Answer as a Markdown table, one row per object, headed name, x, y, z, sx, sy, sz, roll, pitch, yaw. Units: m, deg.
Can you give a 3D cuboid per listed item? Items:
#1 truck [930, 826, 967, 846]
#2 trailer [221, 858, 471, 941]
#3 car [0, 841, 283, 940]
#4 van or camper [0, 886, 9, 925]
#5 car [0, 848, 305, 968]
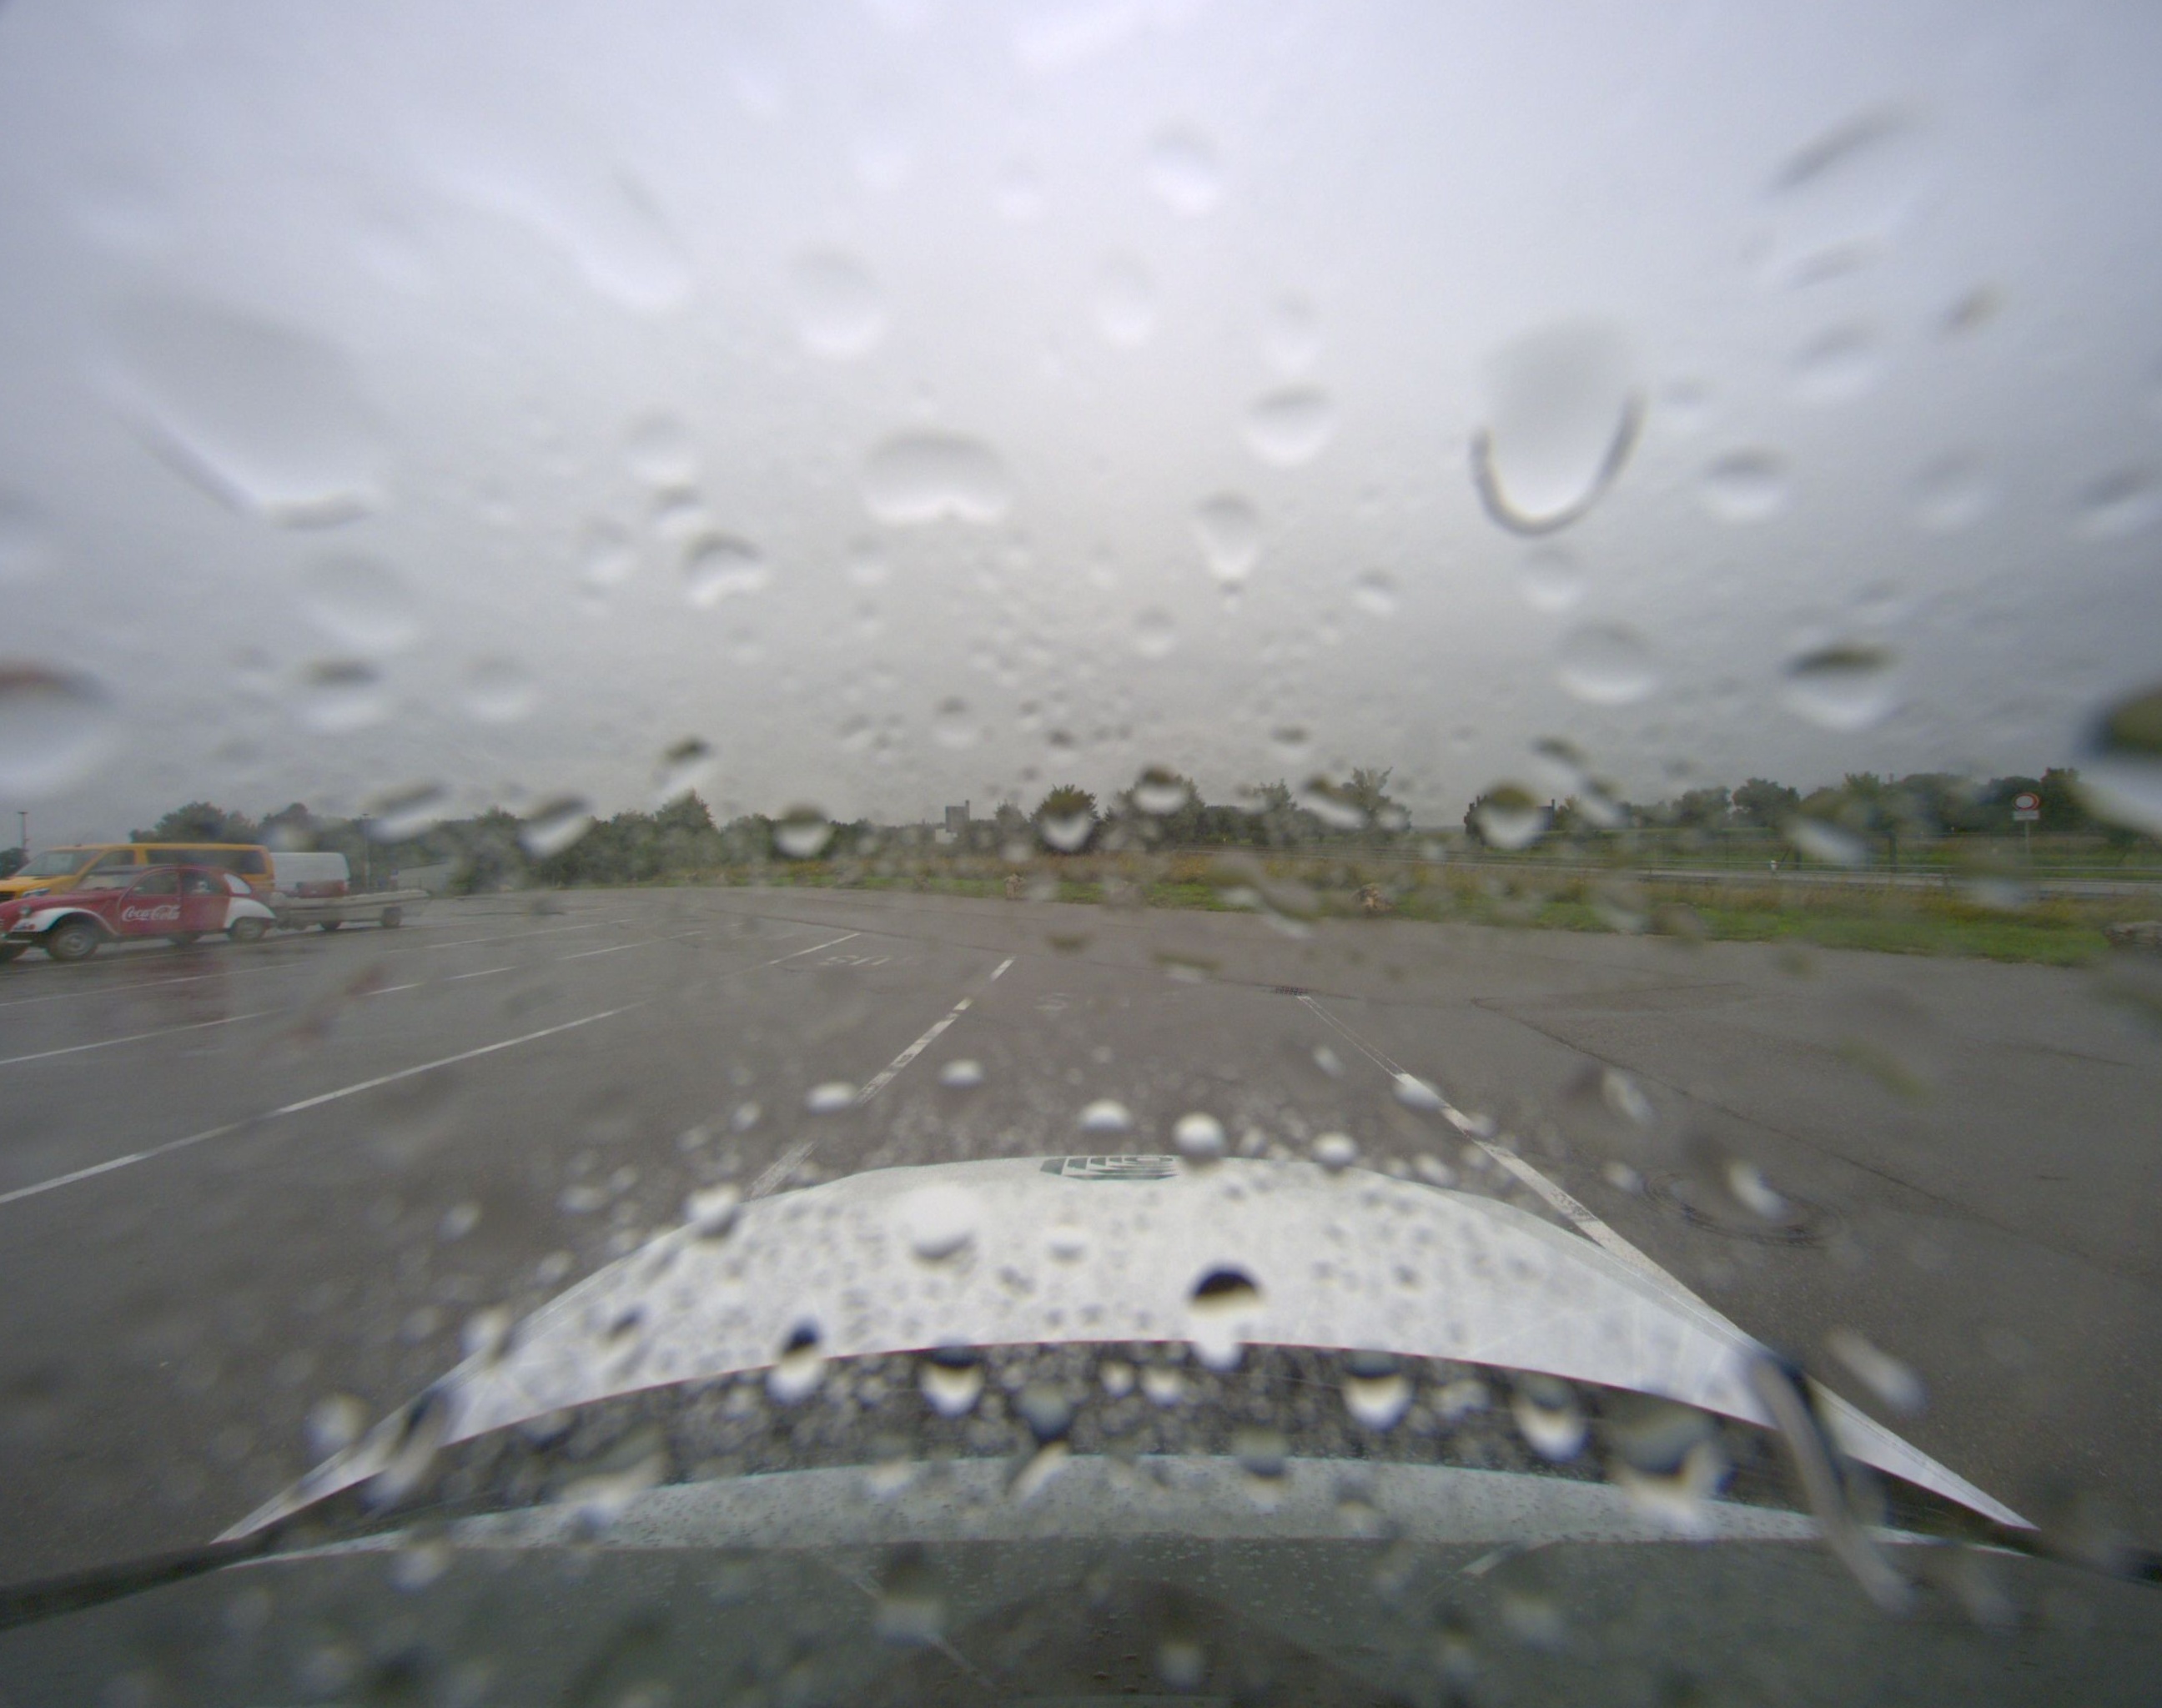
| name | x | y | z | sx | sy | sz | roll | pitch | yaw |
| --- | --- | --- | --- | --- | --- | --- | --- | --- | --- |
| truck | -22.973 | -3.037 | 141.047 | 2.761 | 3.391 | 7.976 | -1 | 0 | -37 |
| trailer | -16.162 | 0.917 | 18.228 | 1.687 | 1.532 | 4.006 | -2 | 0 | 5 |
| car | -26.644 | 0.955 | 23.023 | 1.986 | 2.380 | 6.028 | -4 | 0 | 2 |
| van or camper | -62.447 | 2.969 | 46.055 | 3.948 | 2.166 | 2.013 | -2 | 0 | 34 |
| car | -16.533 | 0.831 | 14.242 | 1.813 | 1.777 | 4.006 | -2 | 0 | 5 |
